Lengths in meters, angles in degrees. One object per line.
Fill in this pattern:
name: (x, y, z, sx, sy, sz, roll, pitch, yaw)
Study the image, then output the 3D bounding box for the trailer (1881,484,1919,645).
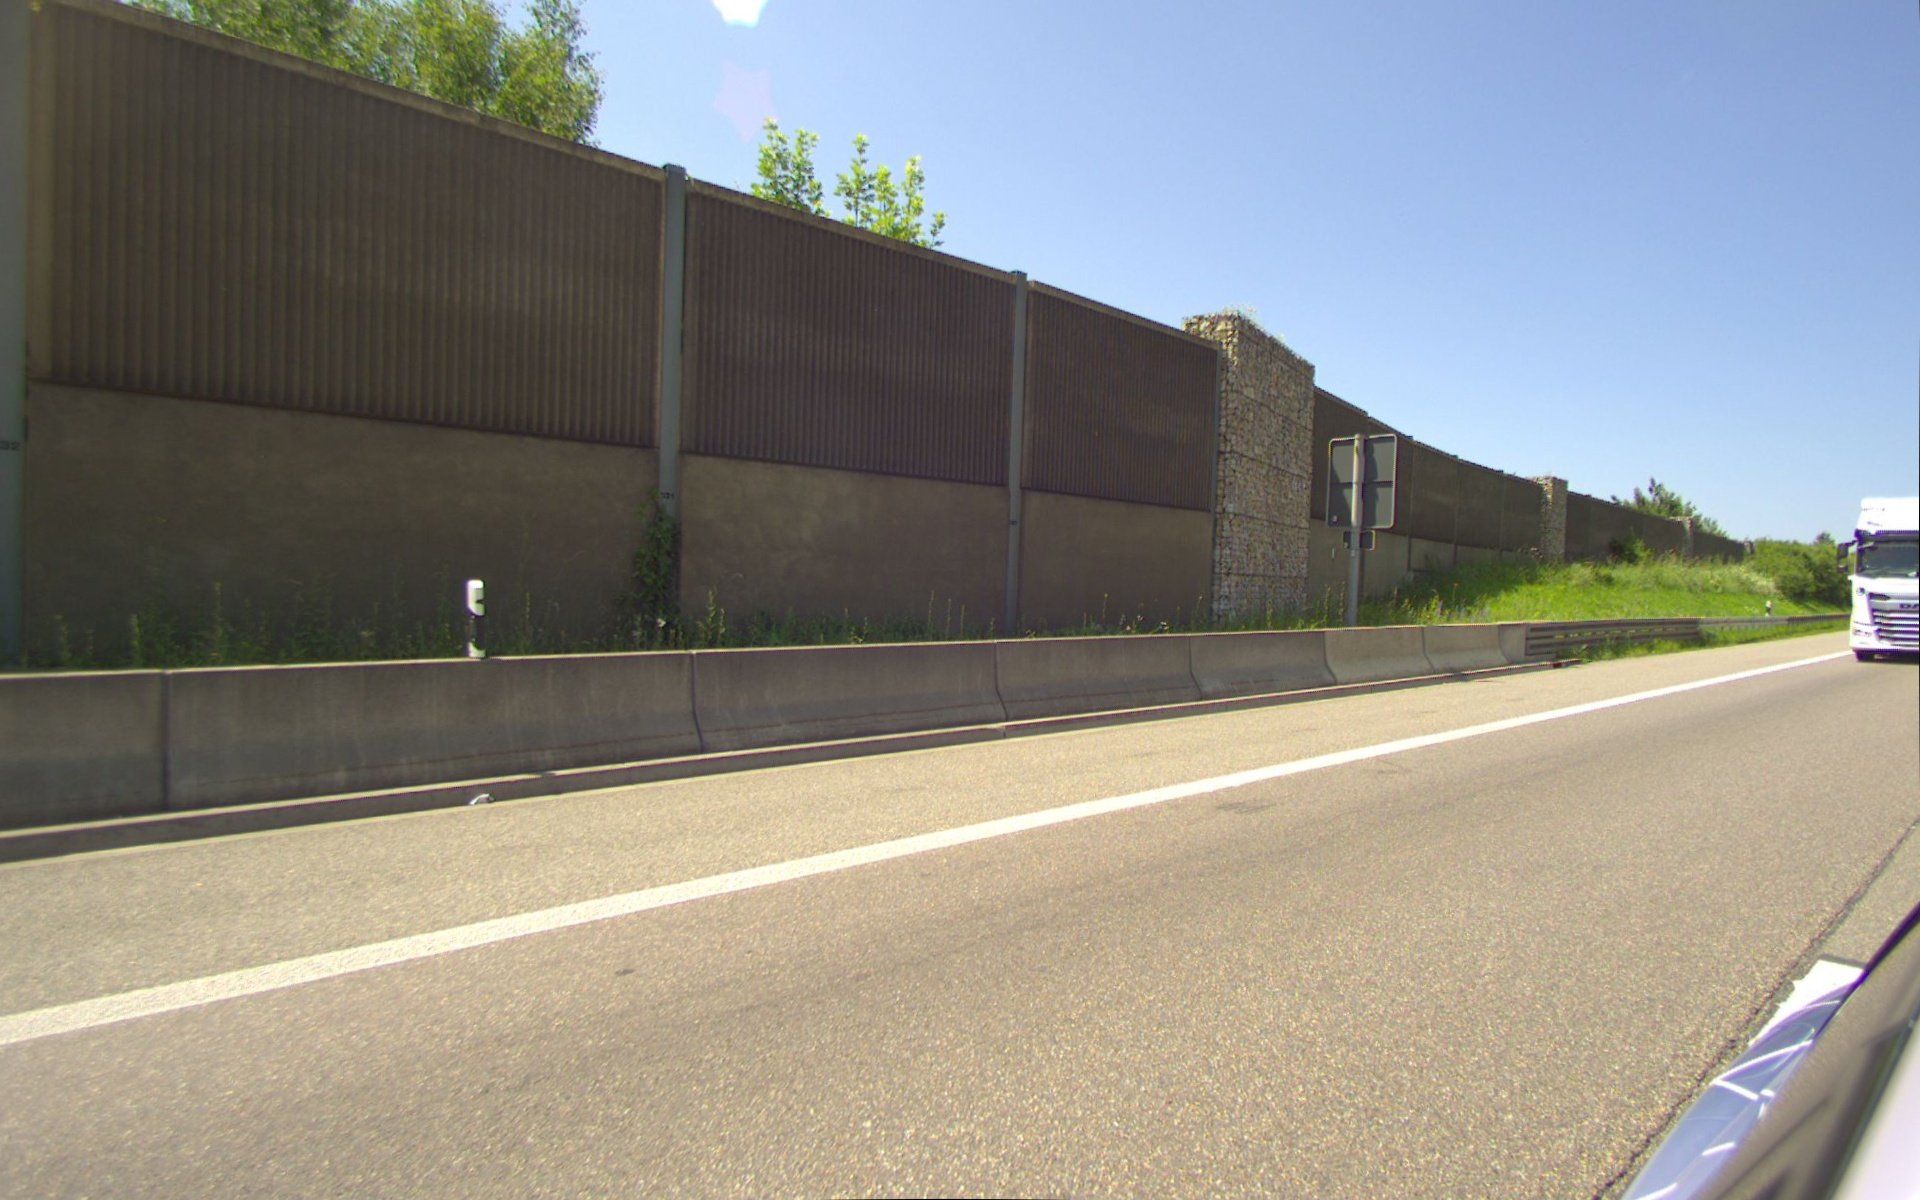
trailer: (29.489, -0.911, 29.375, 13.416, 4.027, 2.482, 0, 1, -41)

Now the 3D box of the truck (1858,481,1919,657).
truck: (24.406, -0.721, 25.011, 6.269, 4.027, 2.482, 0, 1, -41)
